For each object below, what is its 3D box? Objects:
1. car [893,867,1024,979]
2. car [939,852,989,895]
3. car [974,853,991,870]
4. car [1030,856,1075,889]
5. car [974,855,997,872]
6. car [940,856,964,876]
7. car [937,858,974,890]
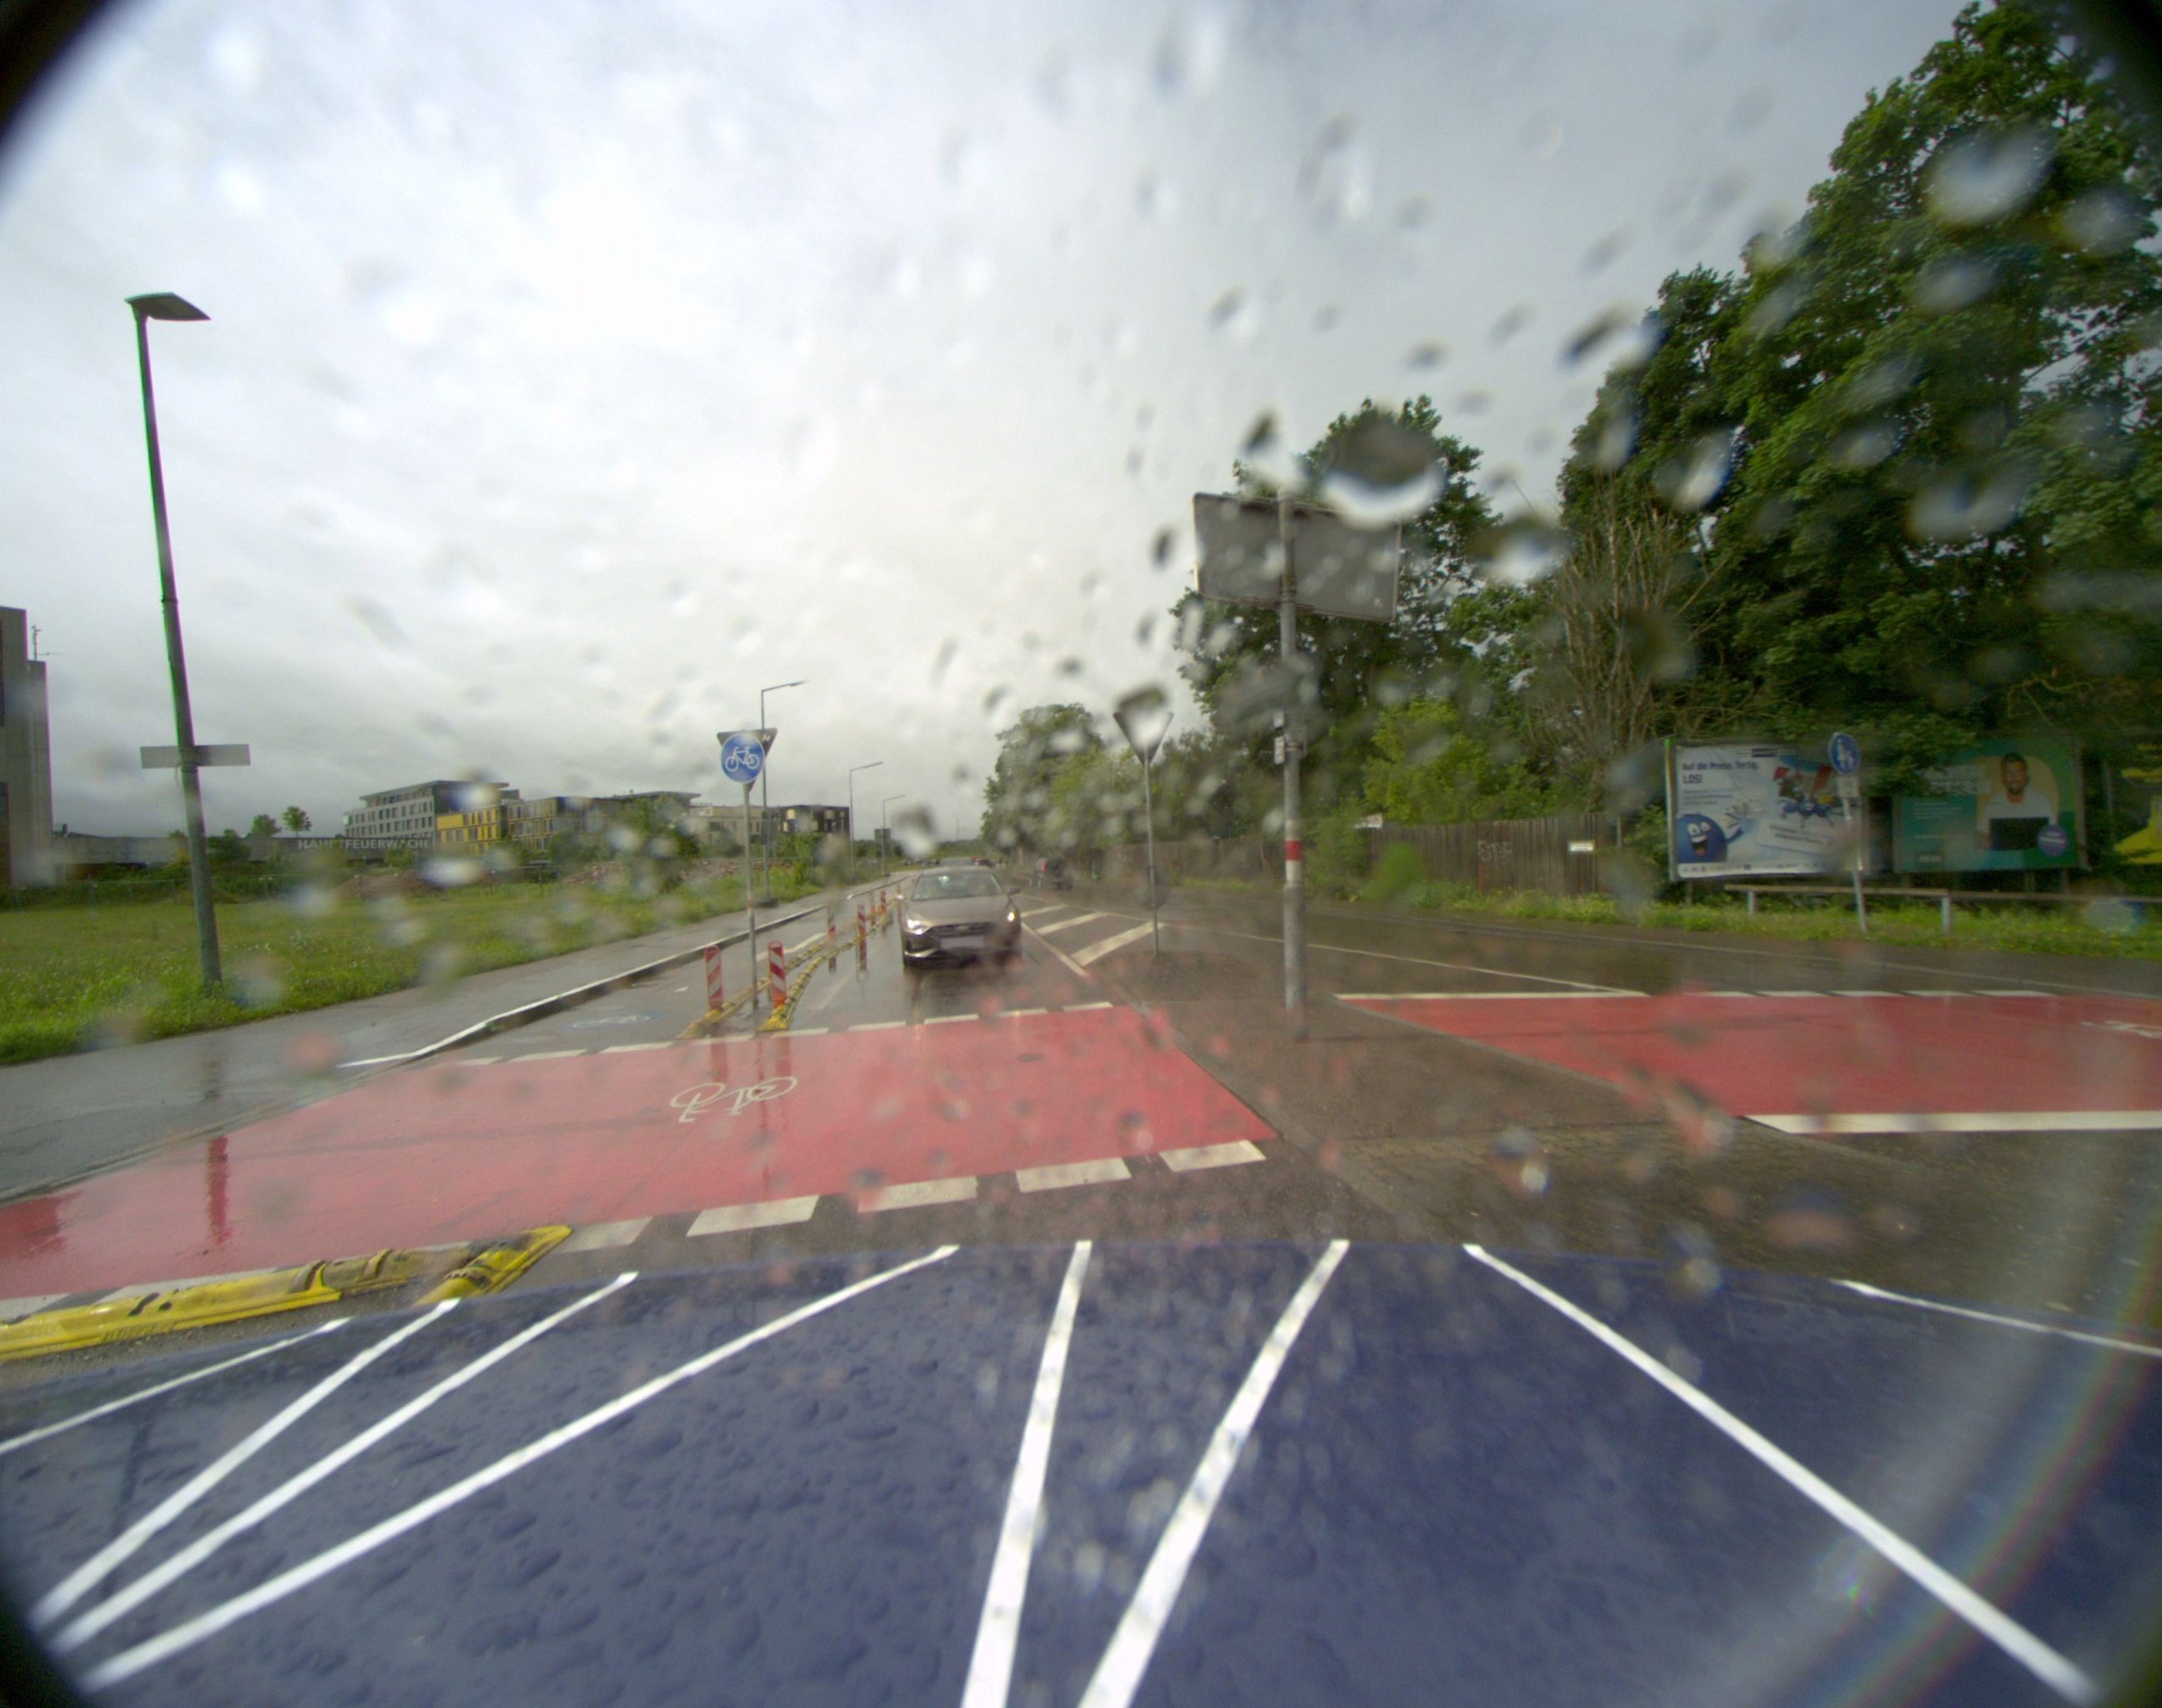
[{"bbox_3d":[-1.957,0.991,12.651,1.735,1.405,4.125,-3,0,-7],"label":"car"},{"bbox_3d":[-5.033,0.818,33.135,1.875,1.653,4.481,-3,0,-6],"label":"car"},{"bbox_3d":[-14.029,1.134,108.358,2.001,2.321,3.996,-2,0,-12],"label":"car"},{"bbox_3d":[-1.476,0.925,38.478,1.634,1.524,3.454,-1,-1,-13],"label":"car"},{"bbox_3d":[-10.109,0.970,80.313,1.857,1.699,3.995,-1,0,-14],"label":"car"},{"bbox_3d":[-11.862,1.077,69.515,1.876,1.653,4.479,-4,0,-12],"label":"car"},{"bbox_3d":[-7.531,1.150,45.428,1.876,1.653,4.479,-4,0,-12],"label":"car"}]
